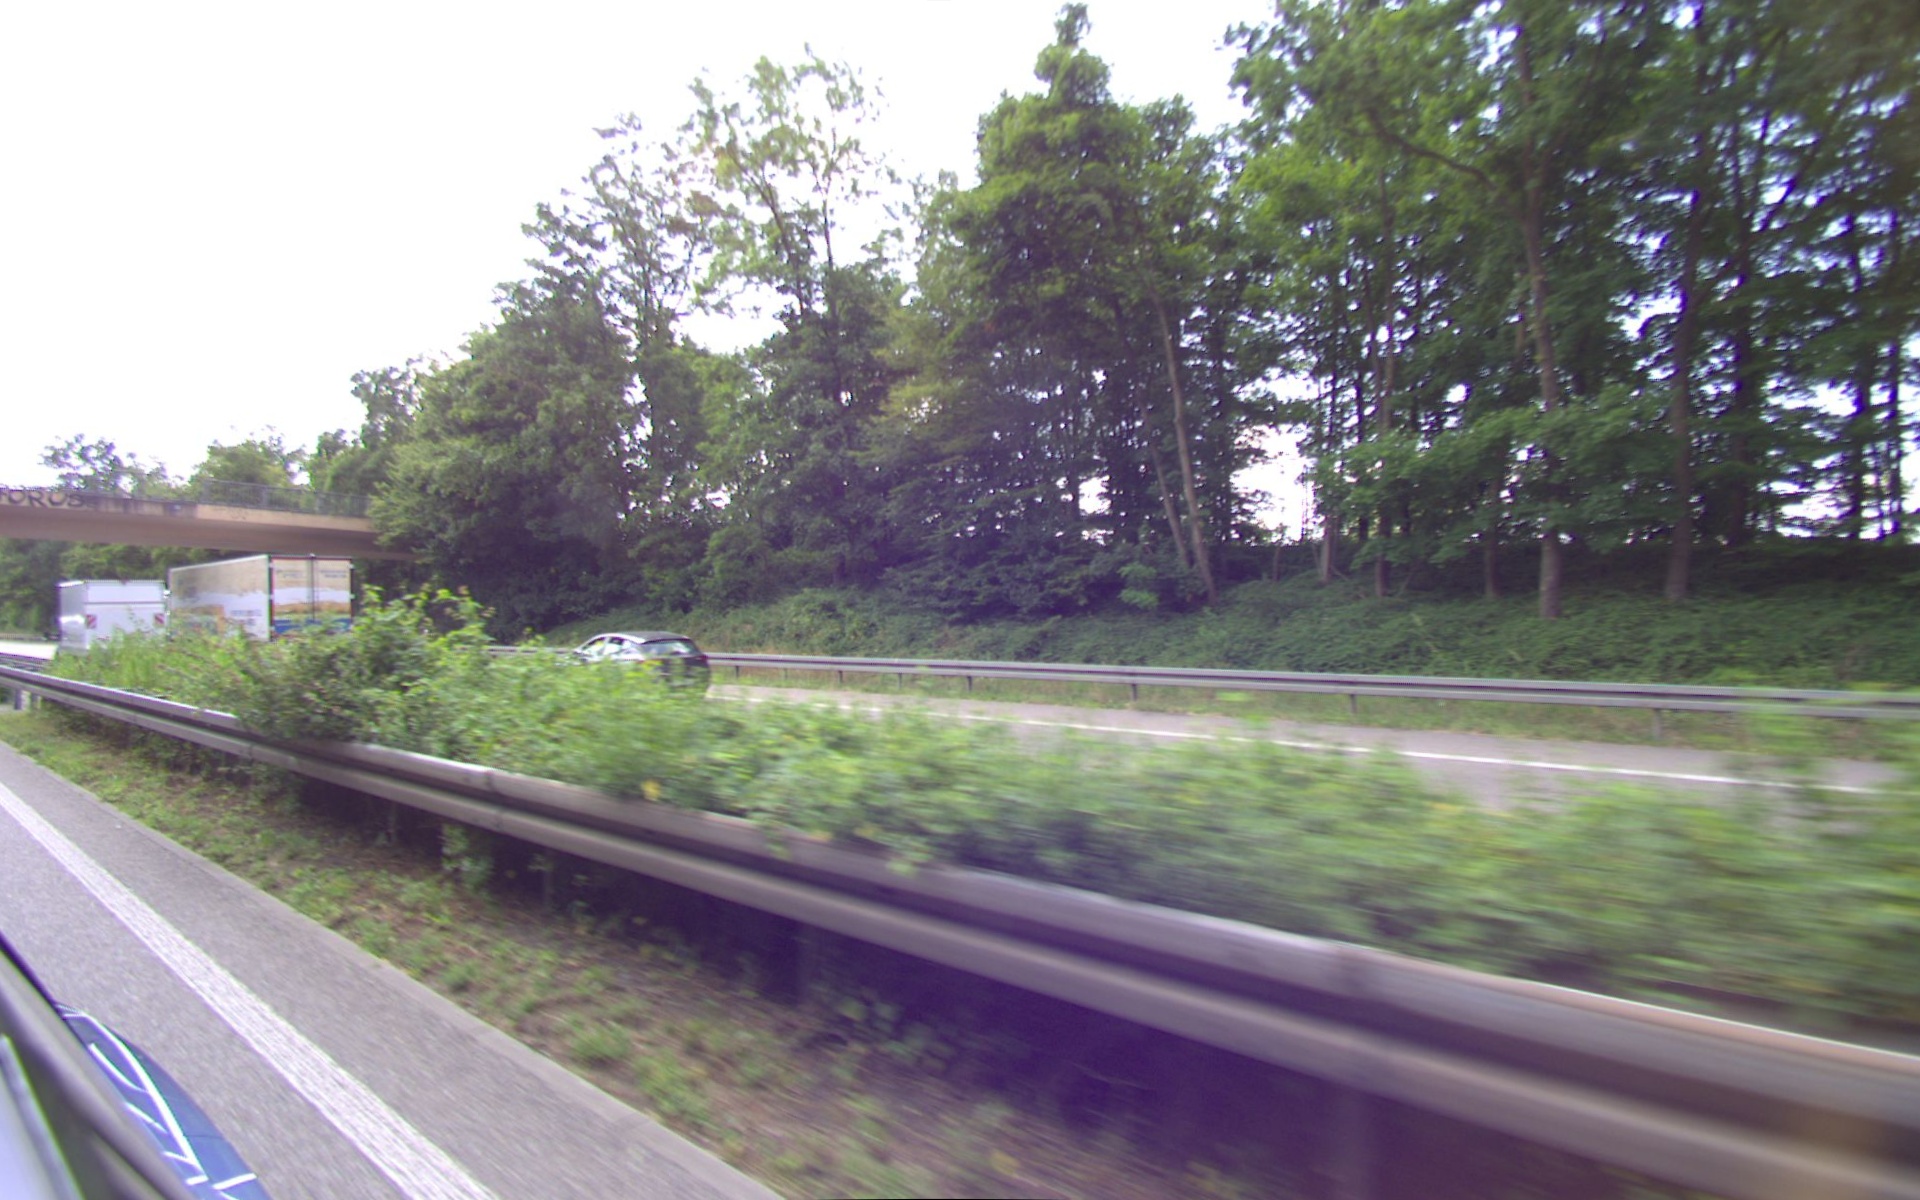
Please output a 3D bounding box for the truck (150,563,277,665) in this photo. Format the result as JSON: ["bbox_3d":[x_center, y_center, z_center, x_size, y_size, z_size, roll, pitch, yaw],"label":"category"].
[{"bbox_3d":[-32.001,0.627,43.297,6.745,4.017,3.008,-2,-2,42],"label":"truck"}]

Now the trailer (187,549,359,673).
[{"bbox_3d":[-25.767,0.492,37.669,9.971,4.073,3.027,-2,-2,42],"label":"trailer"}]

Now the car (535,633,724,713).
[{"bbox_3d":[-6.963,1.432,21.089,4.468,1.484,1.716,-2,-2,41],"label":"car"}]

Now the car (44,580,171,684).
[{"bbox_3d":[-29.551,1.099,34.958,7.283,3.257,2.264,-2,-2,41],"label":"car"}]
